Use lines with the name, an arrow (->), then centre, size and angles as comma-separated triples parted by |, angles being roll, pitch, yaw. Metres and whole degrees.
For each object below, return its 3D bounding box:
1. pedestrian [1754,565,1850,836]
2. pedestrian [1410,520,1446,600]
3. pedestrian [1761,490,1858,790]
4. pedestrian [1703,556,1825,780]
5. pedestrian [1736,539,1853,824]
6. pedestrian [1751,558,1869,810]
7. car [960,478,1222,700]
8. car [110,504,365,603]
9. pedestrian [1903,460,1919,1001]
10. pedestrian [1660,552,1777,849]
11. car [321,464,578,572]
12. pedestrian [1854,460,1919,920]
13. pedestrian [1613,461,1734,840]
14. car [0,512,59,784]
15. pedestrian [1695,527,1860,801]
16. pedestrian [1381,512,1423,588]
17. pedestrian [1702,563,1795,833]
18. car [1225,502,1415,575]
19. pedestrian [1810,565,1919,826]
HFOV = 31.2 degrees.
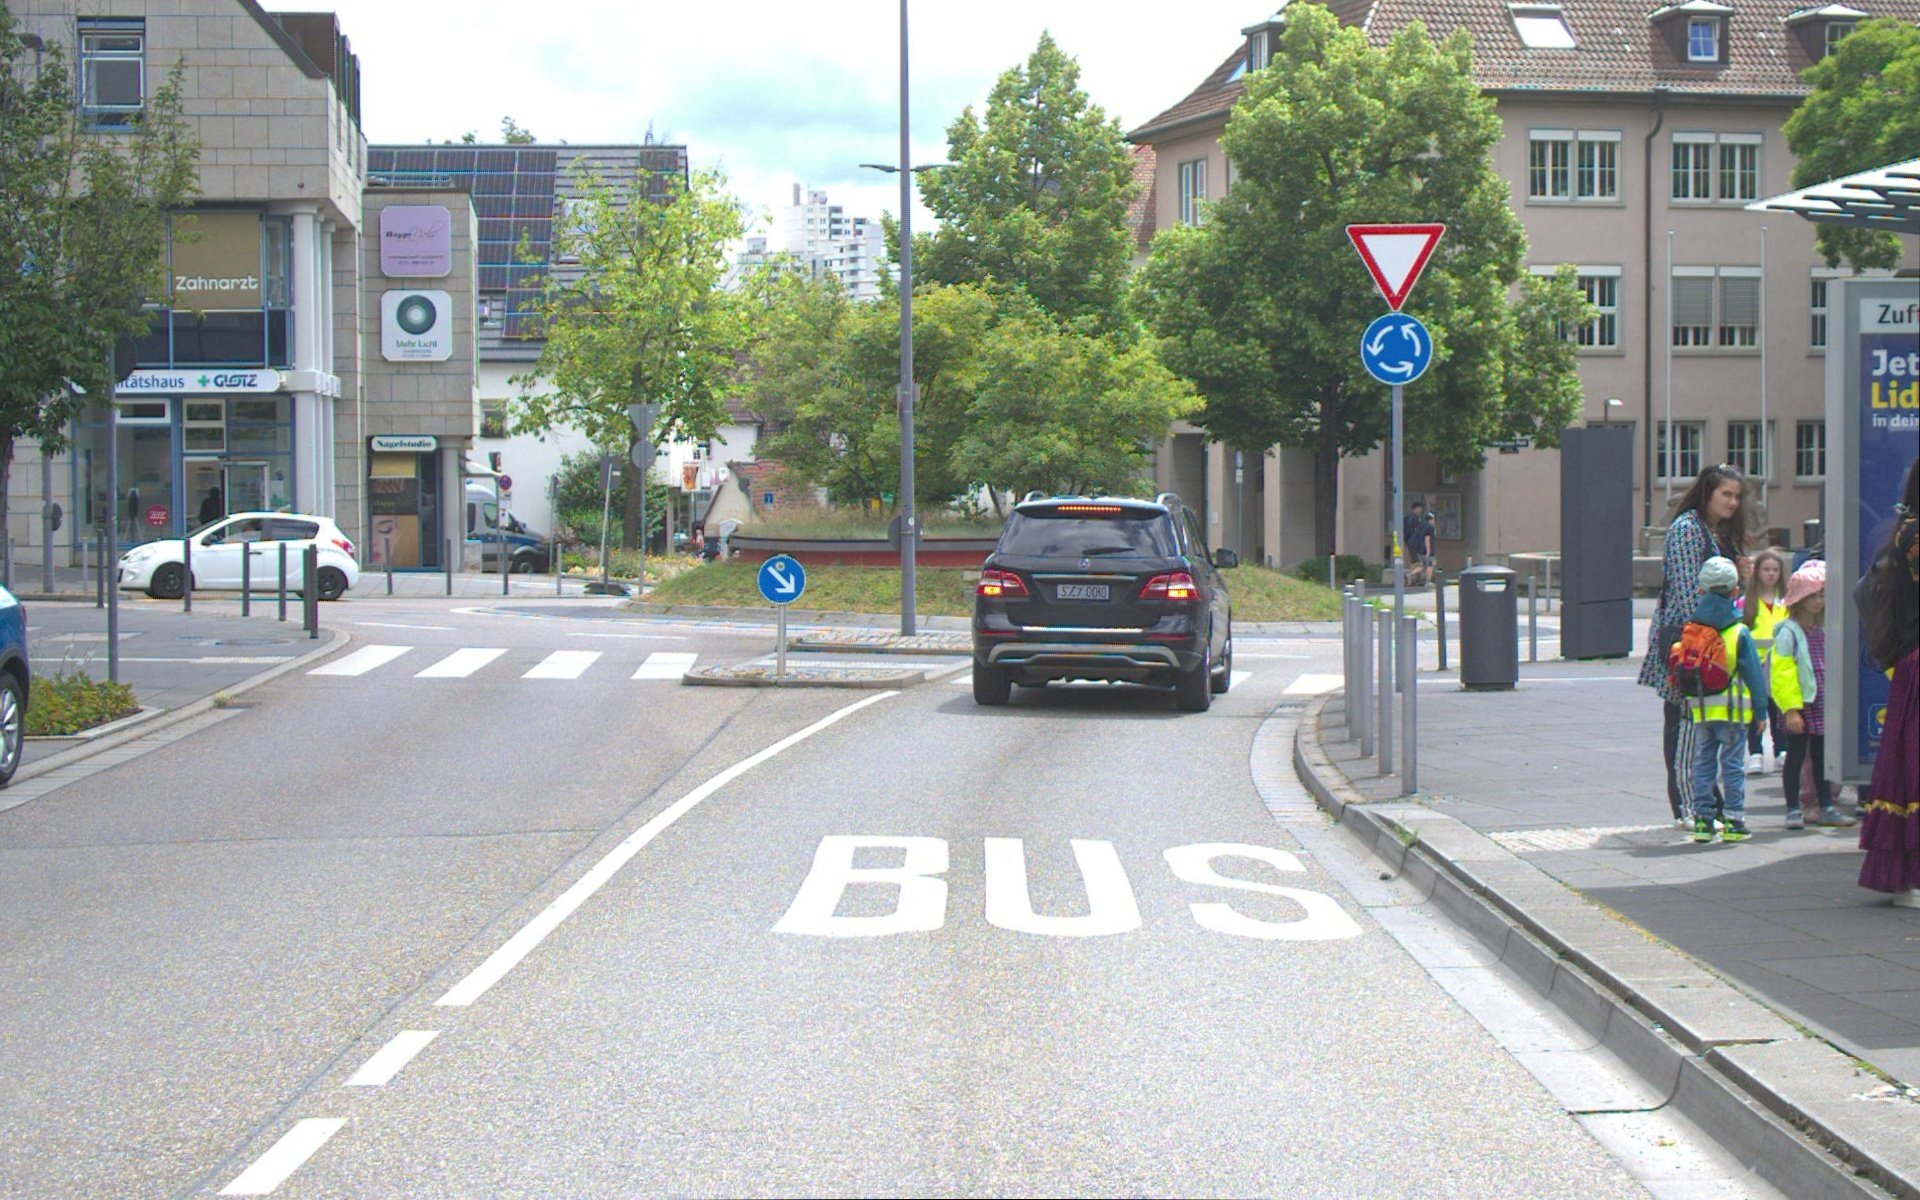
pedestrian -> 3.635, 0.429, 14.851 | 0.297, 1.148, 0.293 | -2, 1, -2
pedestrian -> 9.756, -0.840, 71.652 | 0.573, 1.602, 0.437 | 5, 7, 34
pedestrian -> 4.359, 0.199, 17.644 | 0.389, 1.512, 0.390 | -2, 1, 6
pedestrian -> 4.292, 0.360, 18.345 | 0.476, 1.168, 0.390 | -2, 1, 38
pedestrian -> 3.700, 0.354, 15.253 | 0.323, 1.233, 0.334 | -3, 1, -20
pedestrian -> 4.018, 0.397, 16.262 | 0.335, 1.163, 0.351 | -3, 0, -32
car -> 1.109, -0.083, 29.108 | 2.027, 1.721, 4.433 | 1, 0, 2
car -> -11.952, -0.776, 56.865 | 3.870, 1.526, 1.659 | -2, 1, -22
pedestrian -> 3.069, 0.367, 9.805 | 0.543, 1.544, 0.485 | 0, 2, 44
pedestrian -> 3.192, 0.414, 14.460 | 0.403, 1.222, 0.388 | -1, 1, 22
car -> -13.369, -2.119, 90.132 | 6.283, 2.551, 2.207 | 1, -2, -21
pedestrian -> 3.371, 0.298, 11.880 | 0.496, 1.560, 0.501 | -1, 1, 17
pedestrian -> 3.101, 0.212, 14.962 | 0.387, 1.614, 0.469 | -2, 1, 2
car -> -6.514, 0.275, 19.097 | 1.694, 1.594, 4.331 | 3, 1, 2
pedestrian -> 4.003, 0.310, 16.849 | 0.432, 1.299, 0.599 | -3, 1, -34
pedestrian -> 9.263, -1.059, 72.097 | 0.638, 1.518, 0.576 | 5, 7, 34
pedestrian -> 3.442, 0.425, 15.000 | 0.271, 1.157, 0.264 | -1, 1, 37
car -> 8.034, -1.371, 76.713 | 3.870, 1.526, 1.659 | -2, 1, -22
pedestrian -> 4.072, 0.424, 15.453 | 0.318, 1.148, 0.321 | -3, 2, -40
